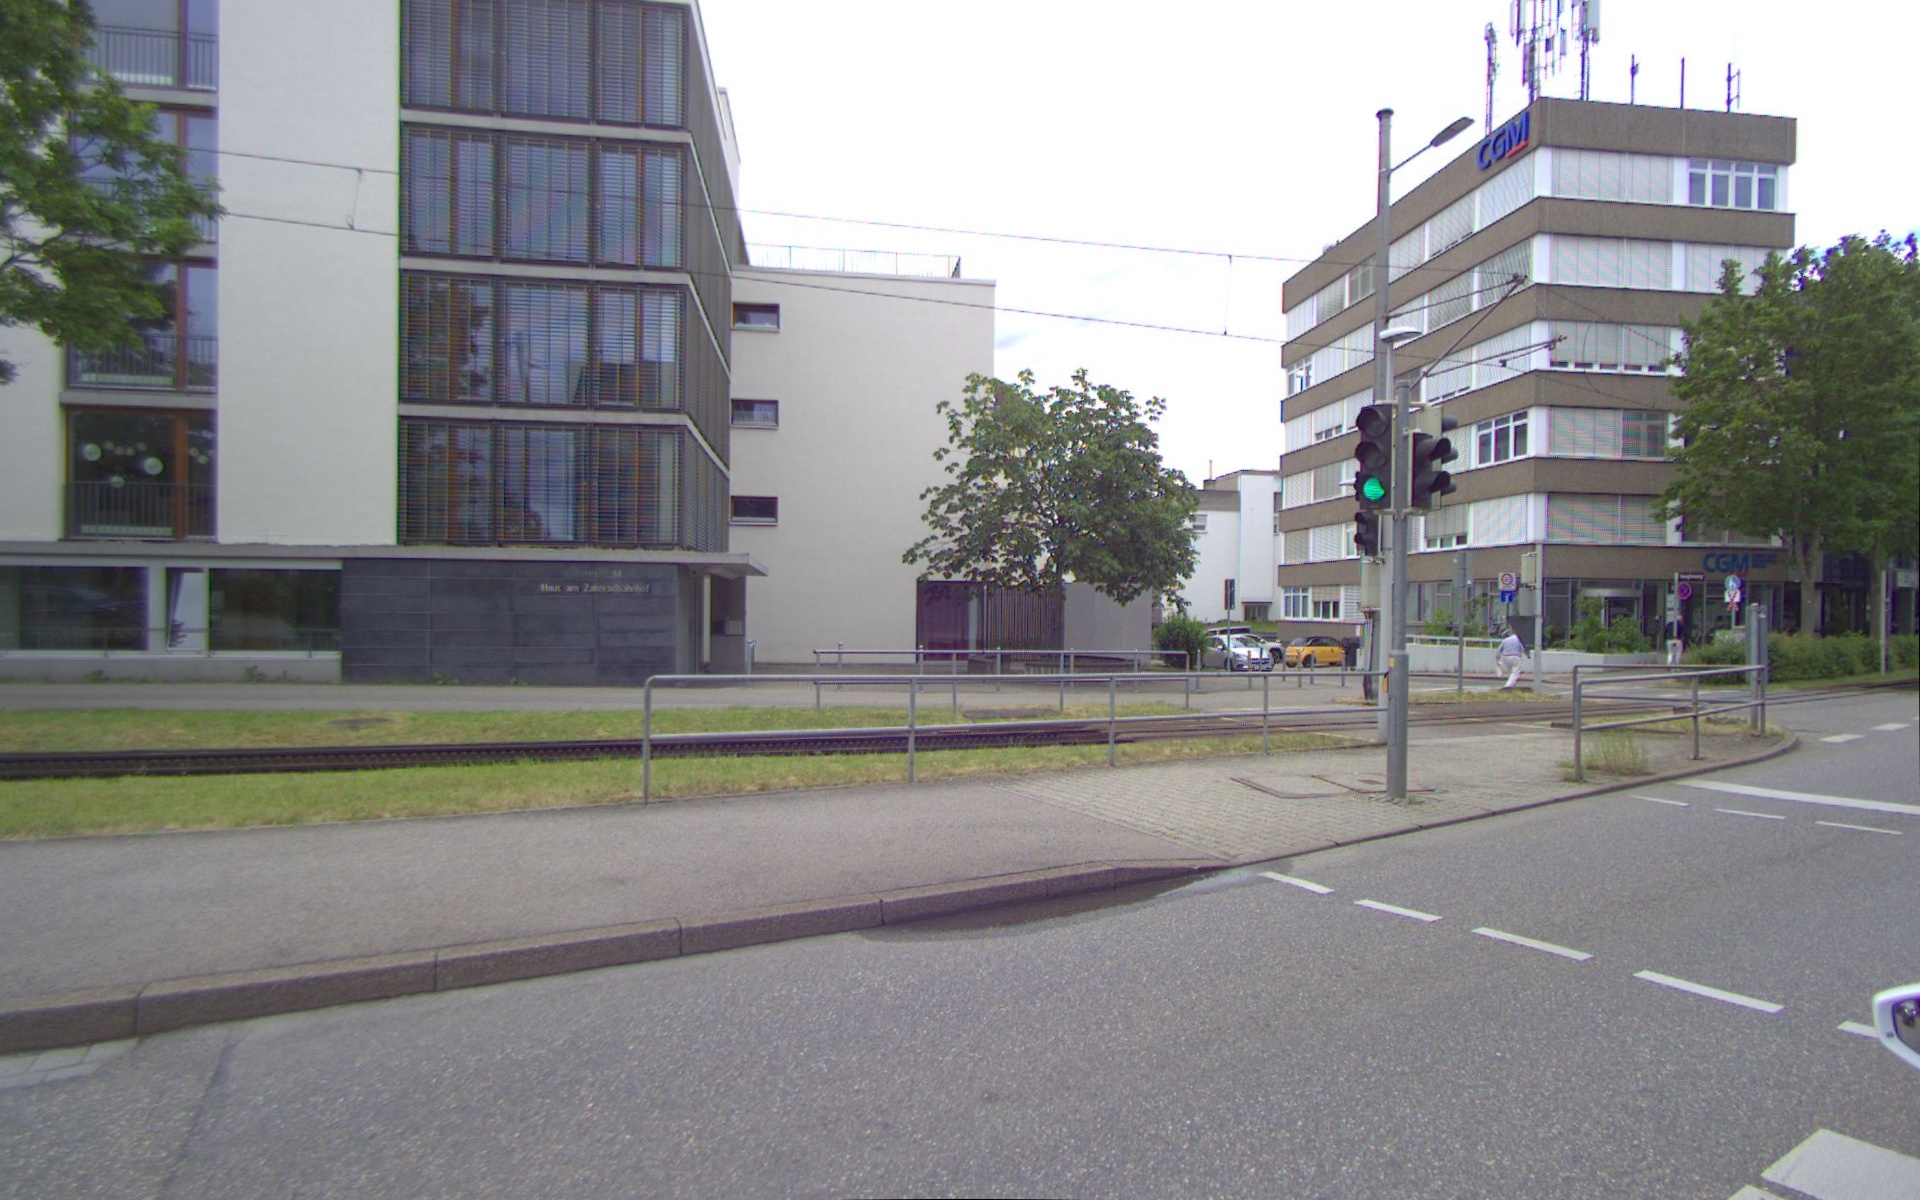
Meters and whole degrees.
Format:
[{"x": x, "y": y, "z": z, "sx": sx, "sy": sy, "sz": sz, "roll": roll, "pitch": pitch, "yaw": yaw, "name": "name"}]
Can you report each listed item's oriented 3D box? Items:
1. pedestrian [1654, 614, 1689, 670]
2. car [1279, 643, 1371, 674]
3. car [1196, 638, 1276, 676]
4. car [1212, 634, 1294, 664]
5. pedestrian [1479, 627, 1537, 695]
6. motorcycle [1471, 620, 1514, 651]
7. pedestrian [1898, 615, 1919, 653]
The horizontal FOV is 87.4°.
[{"x": 22.462, "y": 1.316, "z": 31.716, "sx": 0.675, "sy": 1.728, "sz": 0.684, "roll": 1, "pitch": -2, "yaw": -31, "name": "pedestrian"}, {"x": 17.707, "y": 2.821, "z": 48.790, "sx": 3.931, "sy": 1.443, "sz": 1.727, "roll": 1, "pitch": -2, "yaw": -13, "name": "car"}, {"x": 10.458, "y": 2.154, "z": 38.312, "sx": 1.611, "sy": 1.377, "sz": 3.997, "roll": 1, "pitch": -2, "yaw": -6, "name": "car"}, {"x": 16.004, "y": 2.653, "z": 54.884, "sx": 3.931, "sy": 1.595, "sz": 1.851, "roll": 1, "pitch": -2, "yaw": -13, "name": "car"}, {"x": 12.937, "y": 1.423, "z": 23.722, "sx": 0.986, "sy": 1.546, "sz": 0.842, "roll": 1, "pitch": -2, "yaw": -35, "name": "pedestrian"}, {"x": 21.680, "y": 1.433, "z": 40.961, "sx": 0.558, "sy": 1.215, "sz": 1.883, "roll": 1, "pitch": -1, "yaw": -8, "name": "motorcycle"}, {"x": 50.464, "y": 1.803, "z": 53.435, "sx": 0.565, "sy": 2.040, "sz": 0.677, "roll": 1, "pitch": -1, "yaw": -33, "name": "pedestrian"}]
